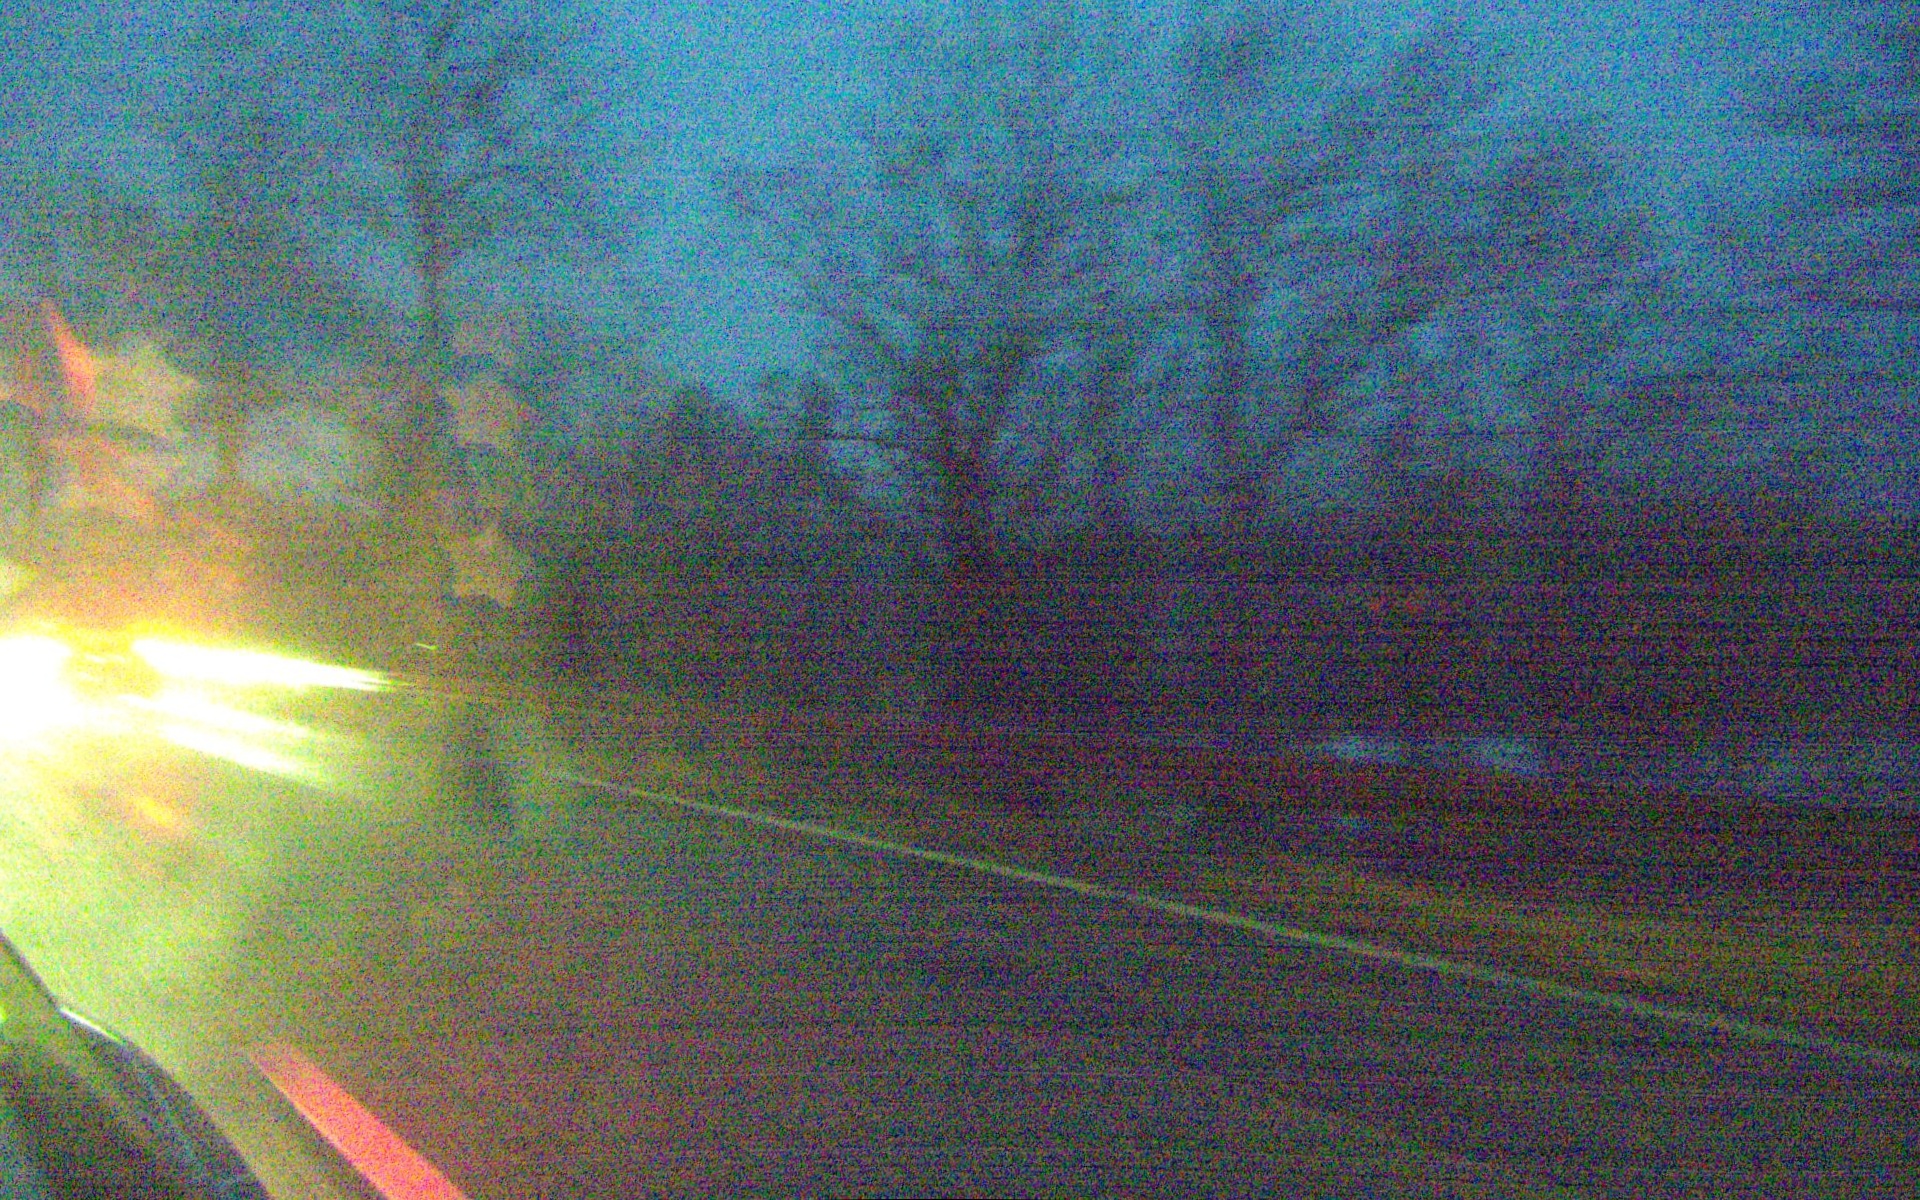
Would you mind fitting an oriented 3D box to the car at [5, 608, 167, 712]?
[{"bbox_3d":[-15.027,1.029,17.340,3.742,1.593,1.617,-4,-3,41],"label":"car"}]
